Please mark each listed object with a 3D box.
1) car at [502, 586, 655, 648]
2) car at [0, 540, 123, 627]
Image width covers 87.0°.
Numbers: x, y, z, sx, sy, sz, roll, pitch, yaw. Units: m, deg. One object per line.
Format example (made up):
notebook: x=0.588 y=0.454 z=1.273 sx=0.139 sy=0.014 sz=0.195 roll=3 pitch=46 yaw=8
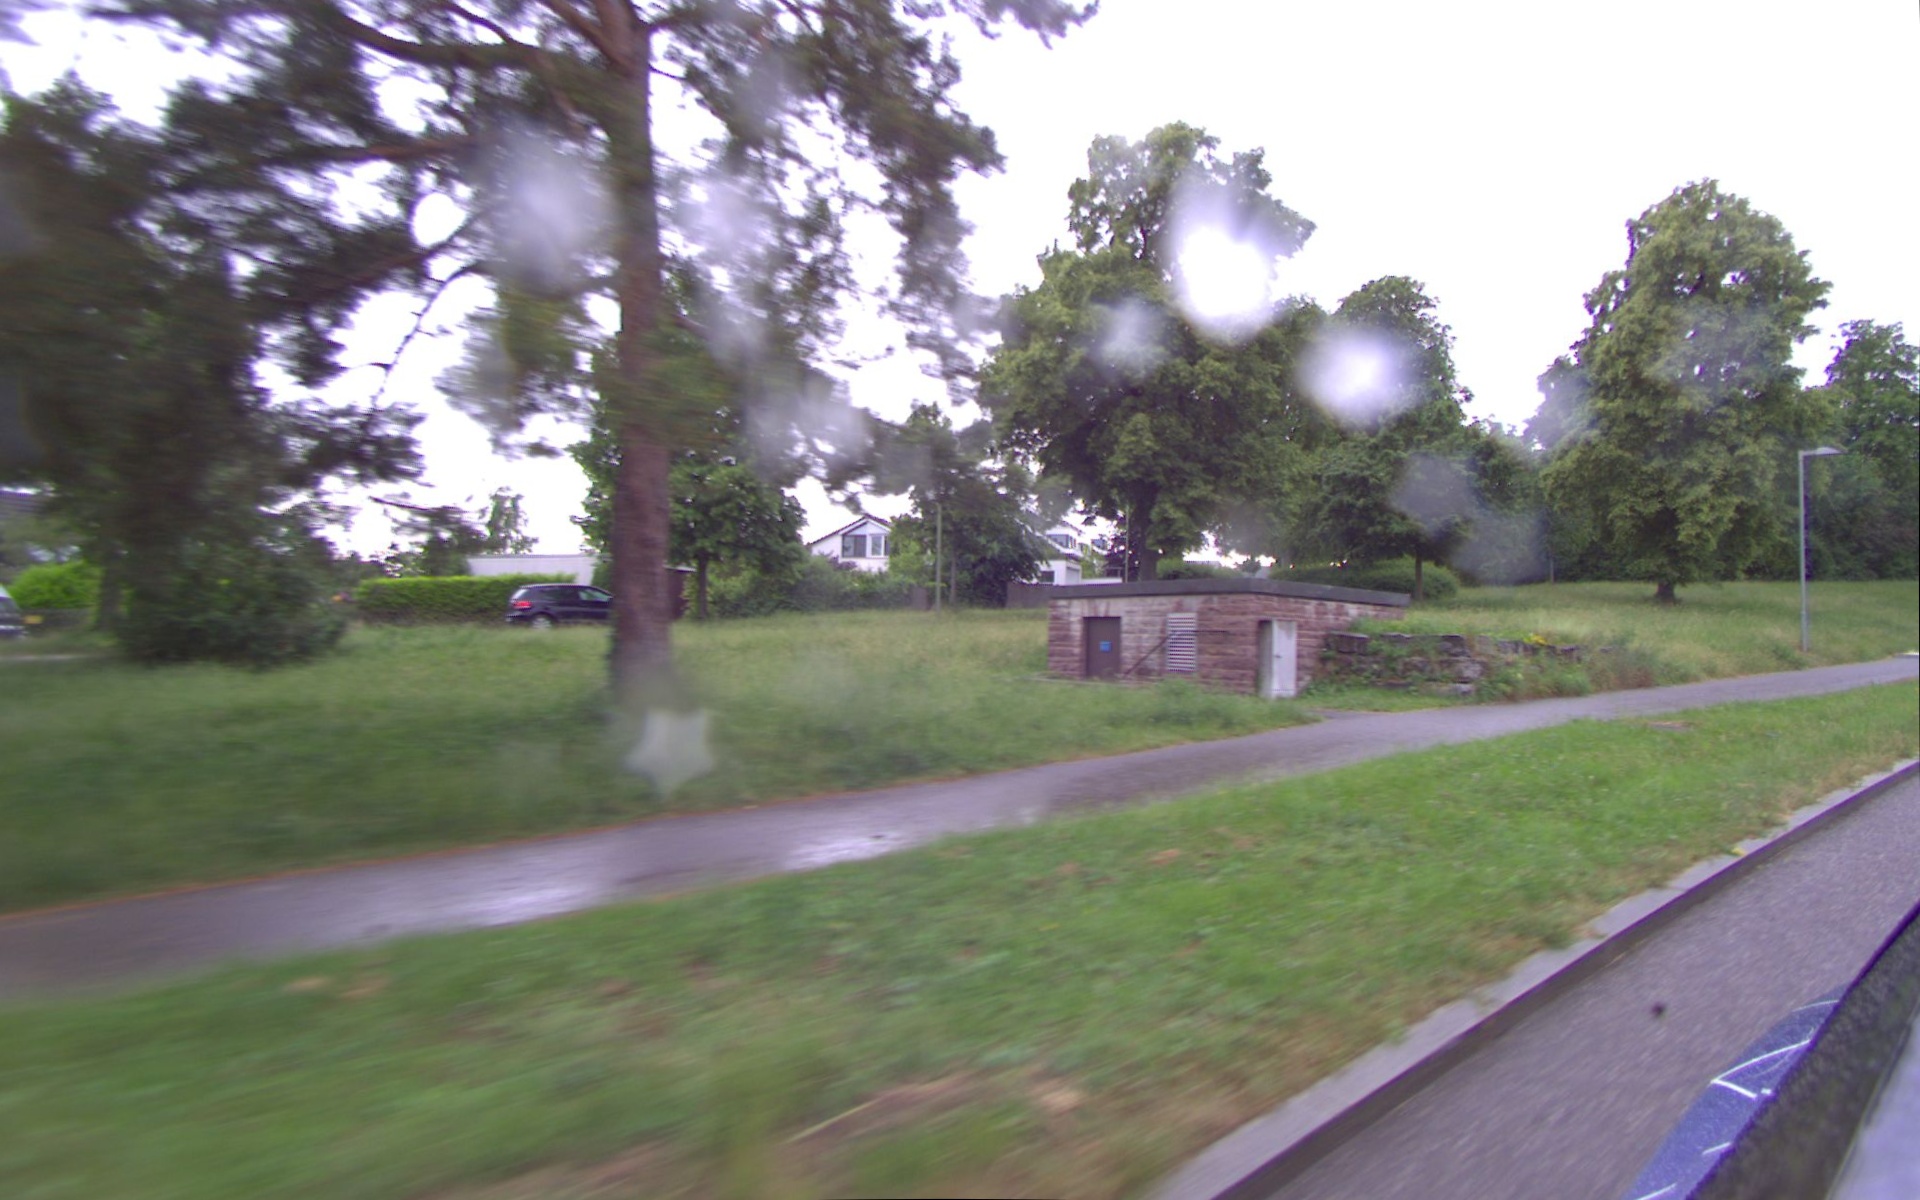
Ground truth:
car: x=-11.074 y=0.457 z=29.414 sx=3.920 sy=1.673 sz=1.833 roll=0 pitch=0 yaw=-31
car: x=-30.211 y=-0.515 z=33.226 sx=6.647 sy=2.531 sz=2.578 roll=1 pitch=-2 yaw=37
